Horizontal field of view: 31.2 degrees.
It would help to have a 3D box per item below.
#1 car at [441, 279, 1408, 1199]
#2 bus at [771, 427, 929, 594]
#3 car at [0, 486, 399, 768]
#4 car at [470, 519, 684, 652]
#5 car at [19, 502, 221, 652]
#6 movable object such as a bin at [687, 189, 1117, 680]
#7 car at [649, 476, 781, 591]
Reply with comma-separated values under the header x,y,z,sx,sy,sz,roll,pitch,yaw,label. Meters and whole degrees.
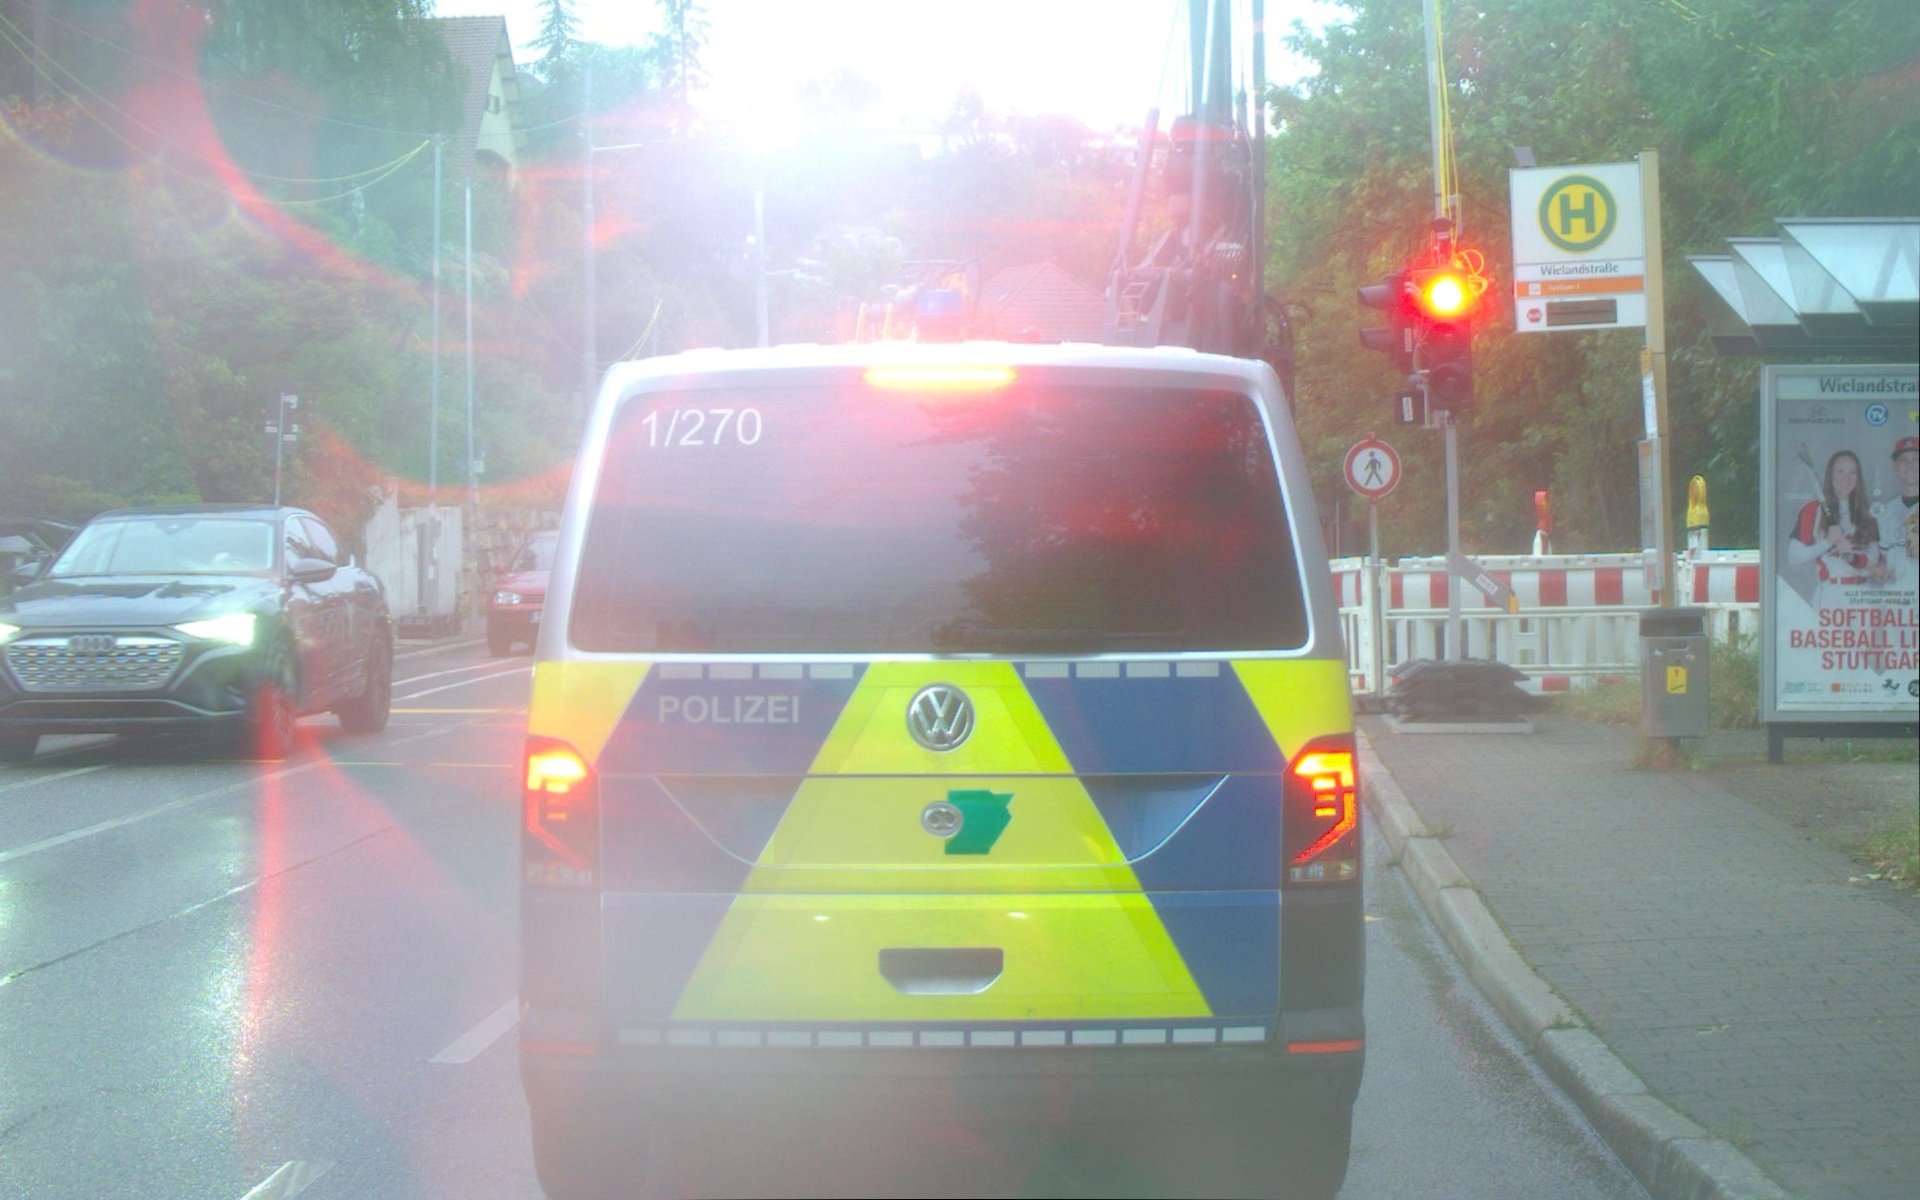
x,y,z,sx,sy,sz,roll,pitch,yaw,label
-0.095,0.357,8.826,1.893,2.043,4.000,1,1,-1,car
-2.507,-2.137,82.896,2.841,3.705,12.005,1,1,3,bus
-5.115,0.124,22.966,1.993,1.668,4.688,-1,1,-1,car
-4.441,-0.211,40.409,1.764,1.458,3.886,1,1,5,car
-9.324,-0.286,37.969,1.765,1.481,3.743,1,3,-20,car
-0.422,-1.464,31.625,2.832,4.163,4.378,1,1,15,movable object such as a bin
-3.879,-1.077,55.070,1.979,1.742,4.554,1,1,-3,car
